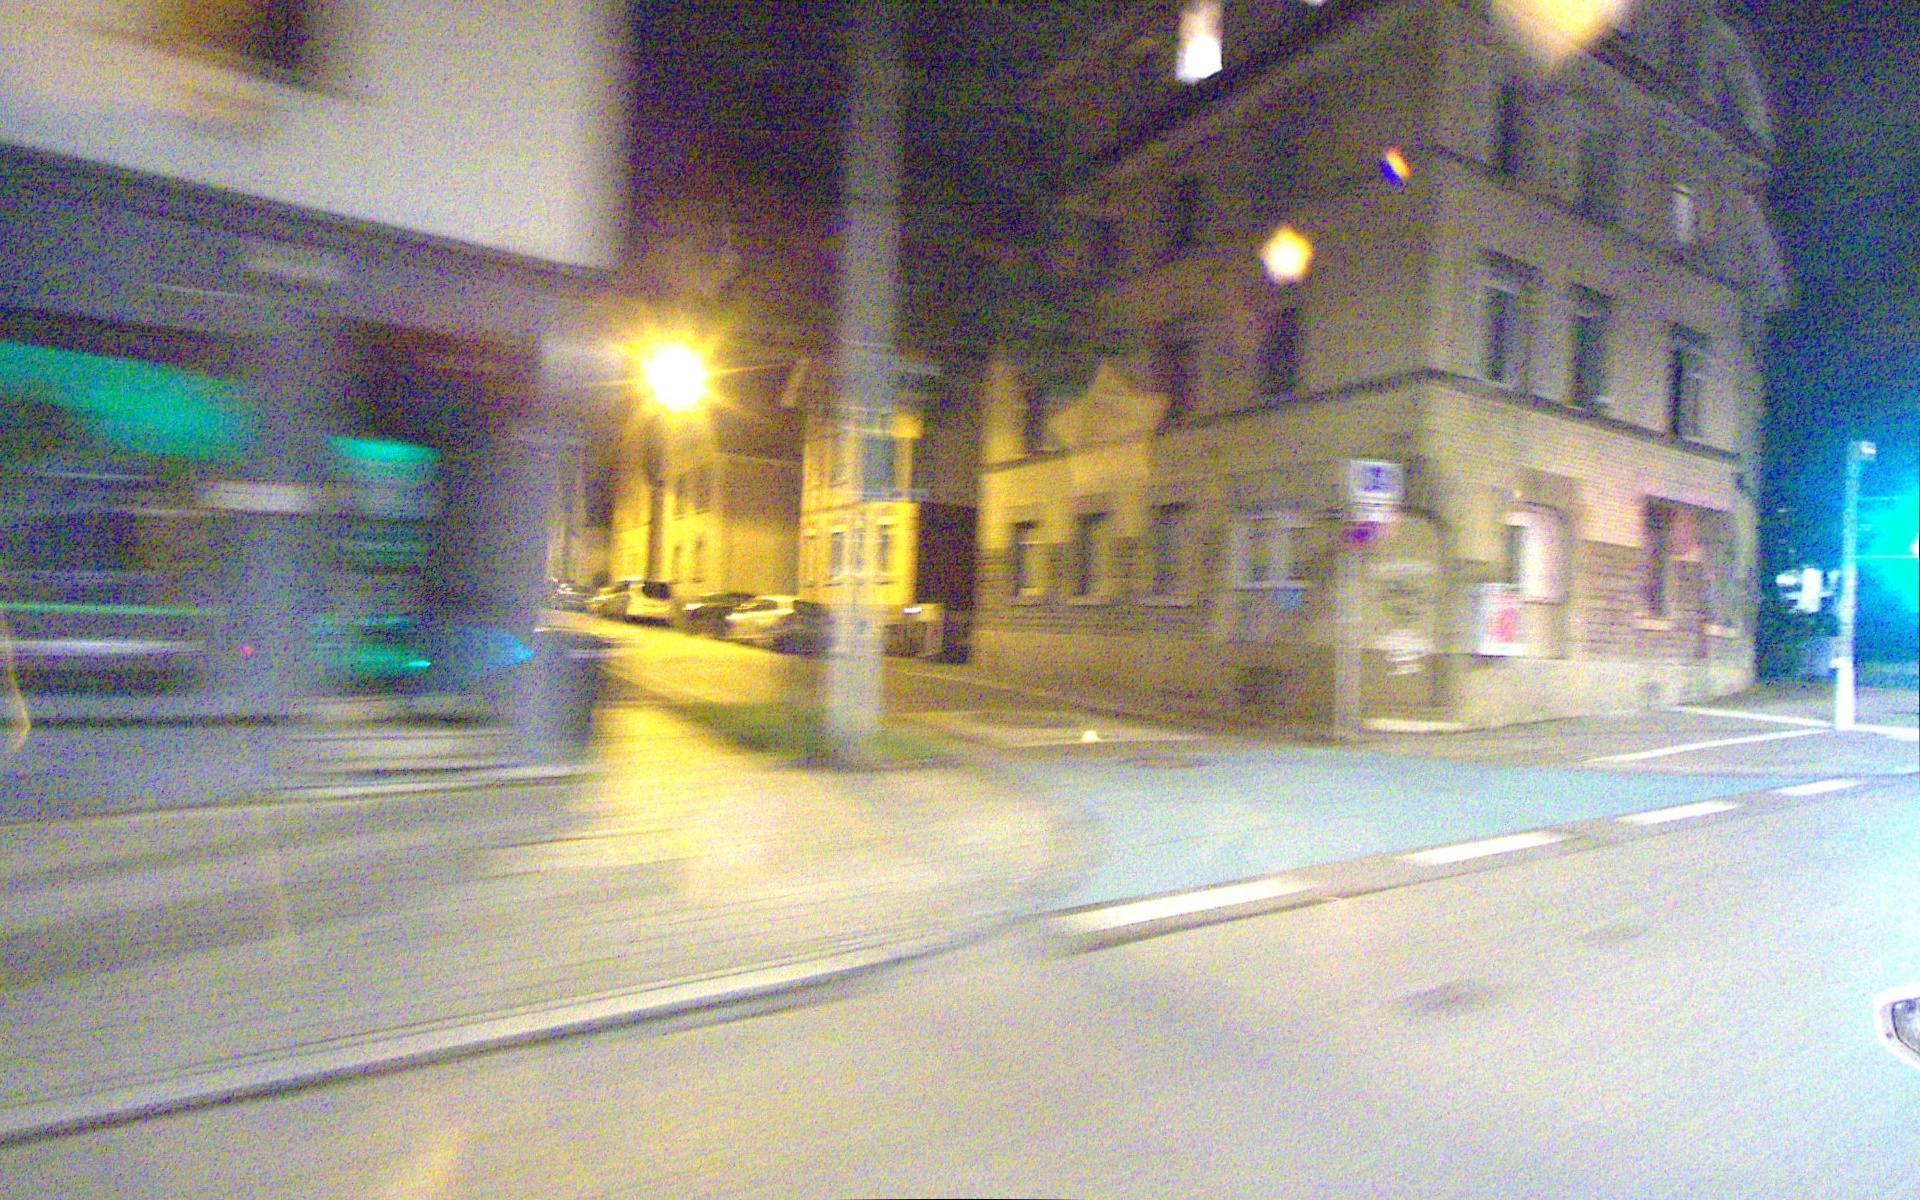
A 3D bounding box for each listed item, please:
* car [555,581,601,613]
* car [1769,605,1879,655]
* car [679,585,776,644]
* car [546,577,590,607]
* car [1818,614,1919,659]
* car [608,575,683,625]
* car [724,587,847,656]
[{"bbox_3d":[-21.292,-0.186,55.931,1.773,1.606,3.906,2,0,-30],"label":"car"},{"bbox_3d":[30.310,1.070,35.216,4.142,1.558,1.746,2,3,-33],"label":"car"},{"bbox_3d":[-7.354,0.422,31.499,1.746,1.562,3.967,6,-2,-30],"label":"car"},{"bbox_3d":[-23.953,-0.510,61.272,1.915,1.719,3.906,2,0,-30],"label":"car"},{"bbox_3d":[34.855,1.382,37.446,1.736,1.444,3.979,2,2,-21],"label":"car"},{"bbox_3d":[-13.227,-0.029,42.117,1.965,1.837,4.109,5,-1,-31],"label":"car"},{"bbox_3d":[-4.818,0.541,27.321,1.907,1.562,3.967,6,-2,-30],"label":"car"}]
